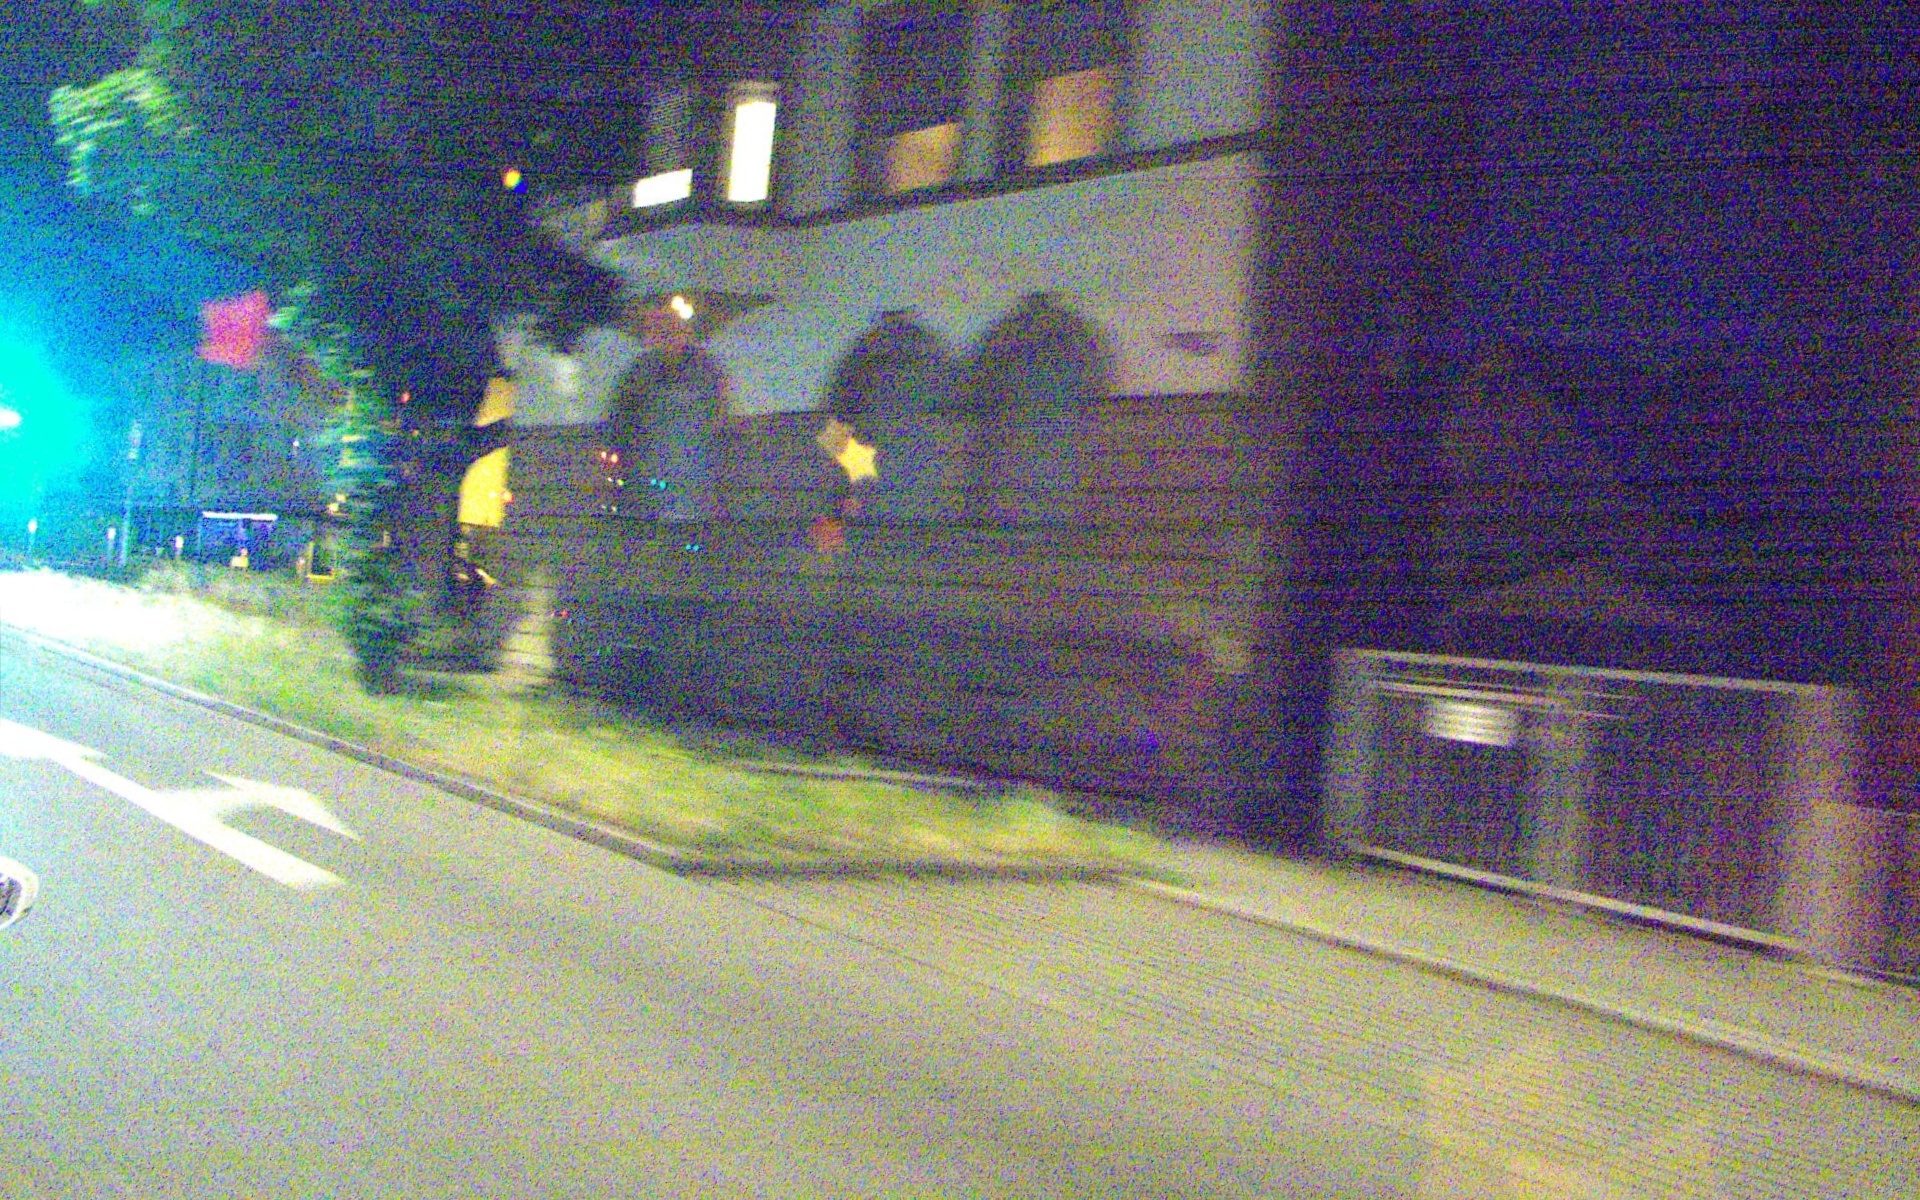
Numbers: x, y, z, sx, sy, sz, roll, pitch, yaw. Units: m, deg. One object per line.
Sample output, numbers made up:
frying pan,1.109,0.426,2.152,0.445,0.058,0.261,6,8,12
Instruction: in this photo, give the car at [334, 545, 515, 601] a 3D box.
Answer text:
car,-14.930,-0.720,28.234,1.740,1.298,4.122,6,3,38
